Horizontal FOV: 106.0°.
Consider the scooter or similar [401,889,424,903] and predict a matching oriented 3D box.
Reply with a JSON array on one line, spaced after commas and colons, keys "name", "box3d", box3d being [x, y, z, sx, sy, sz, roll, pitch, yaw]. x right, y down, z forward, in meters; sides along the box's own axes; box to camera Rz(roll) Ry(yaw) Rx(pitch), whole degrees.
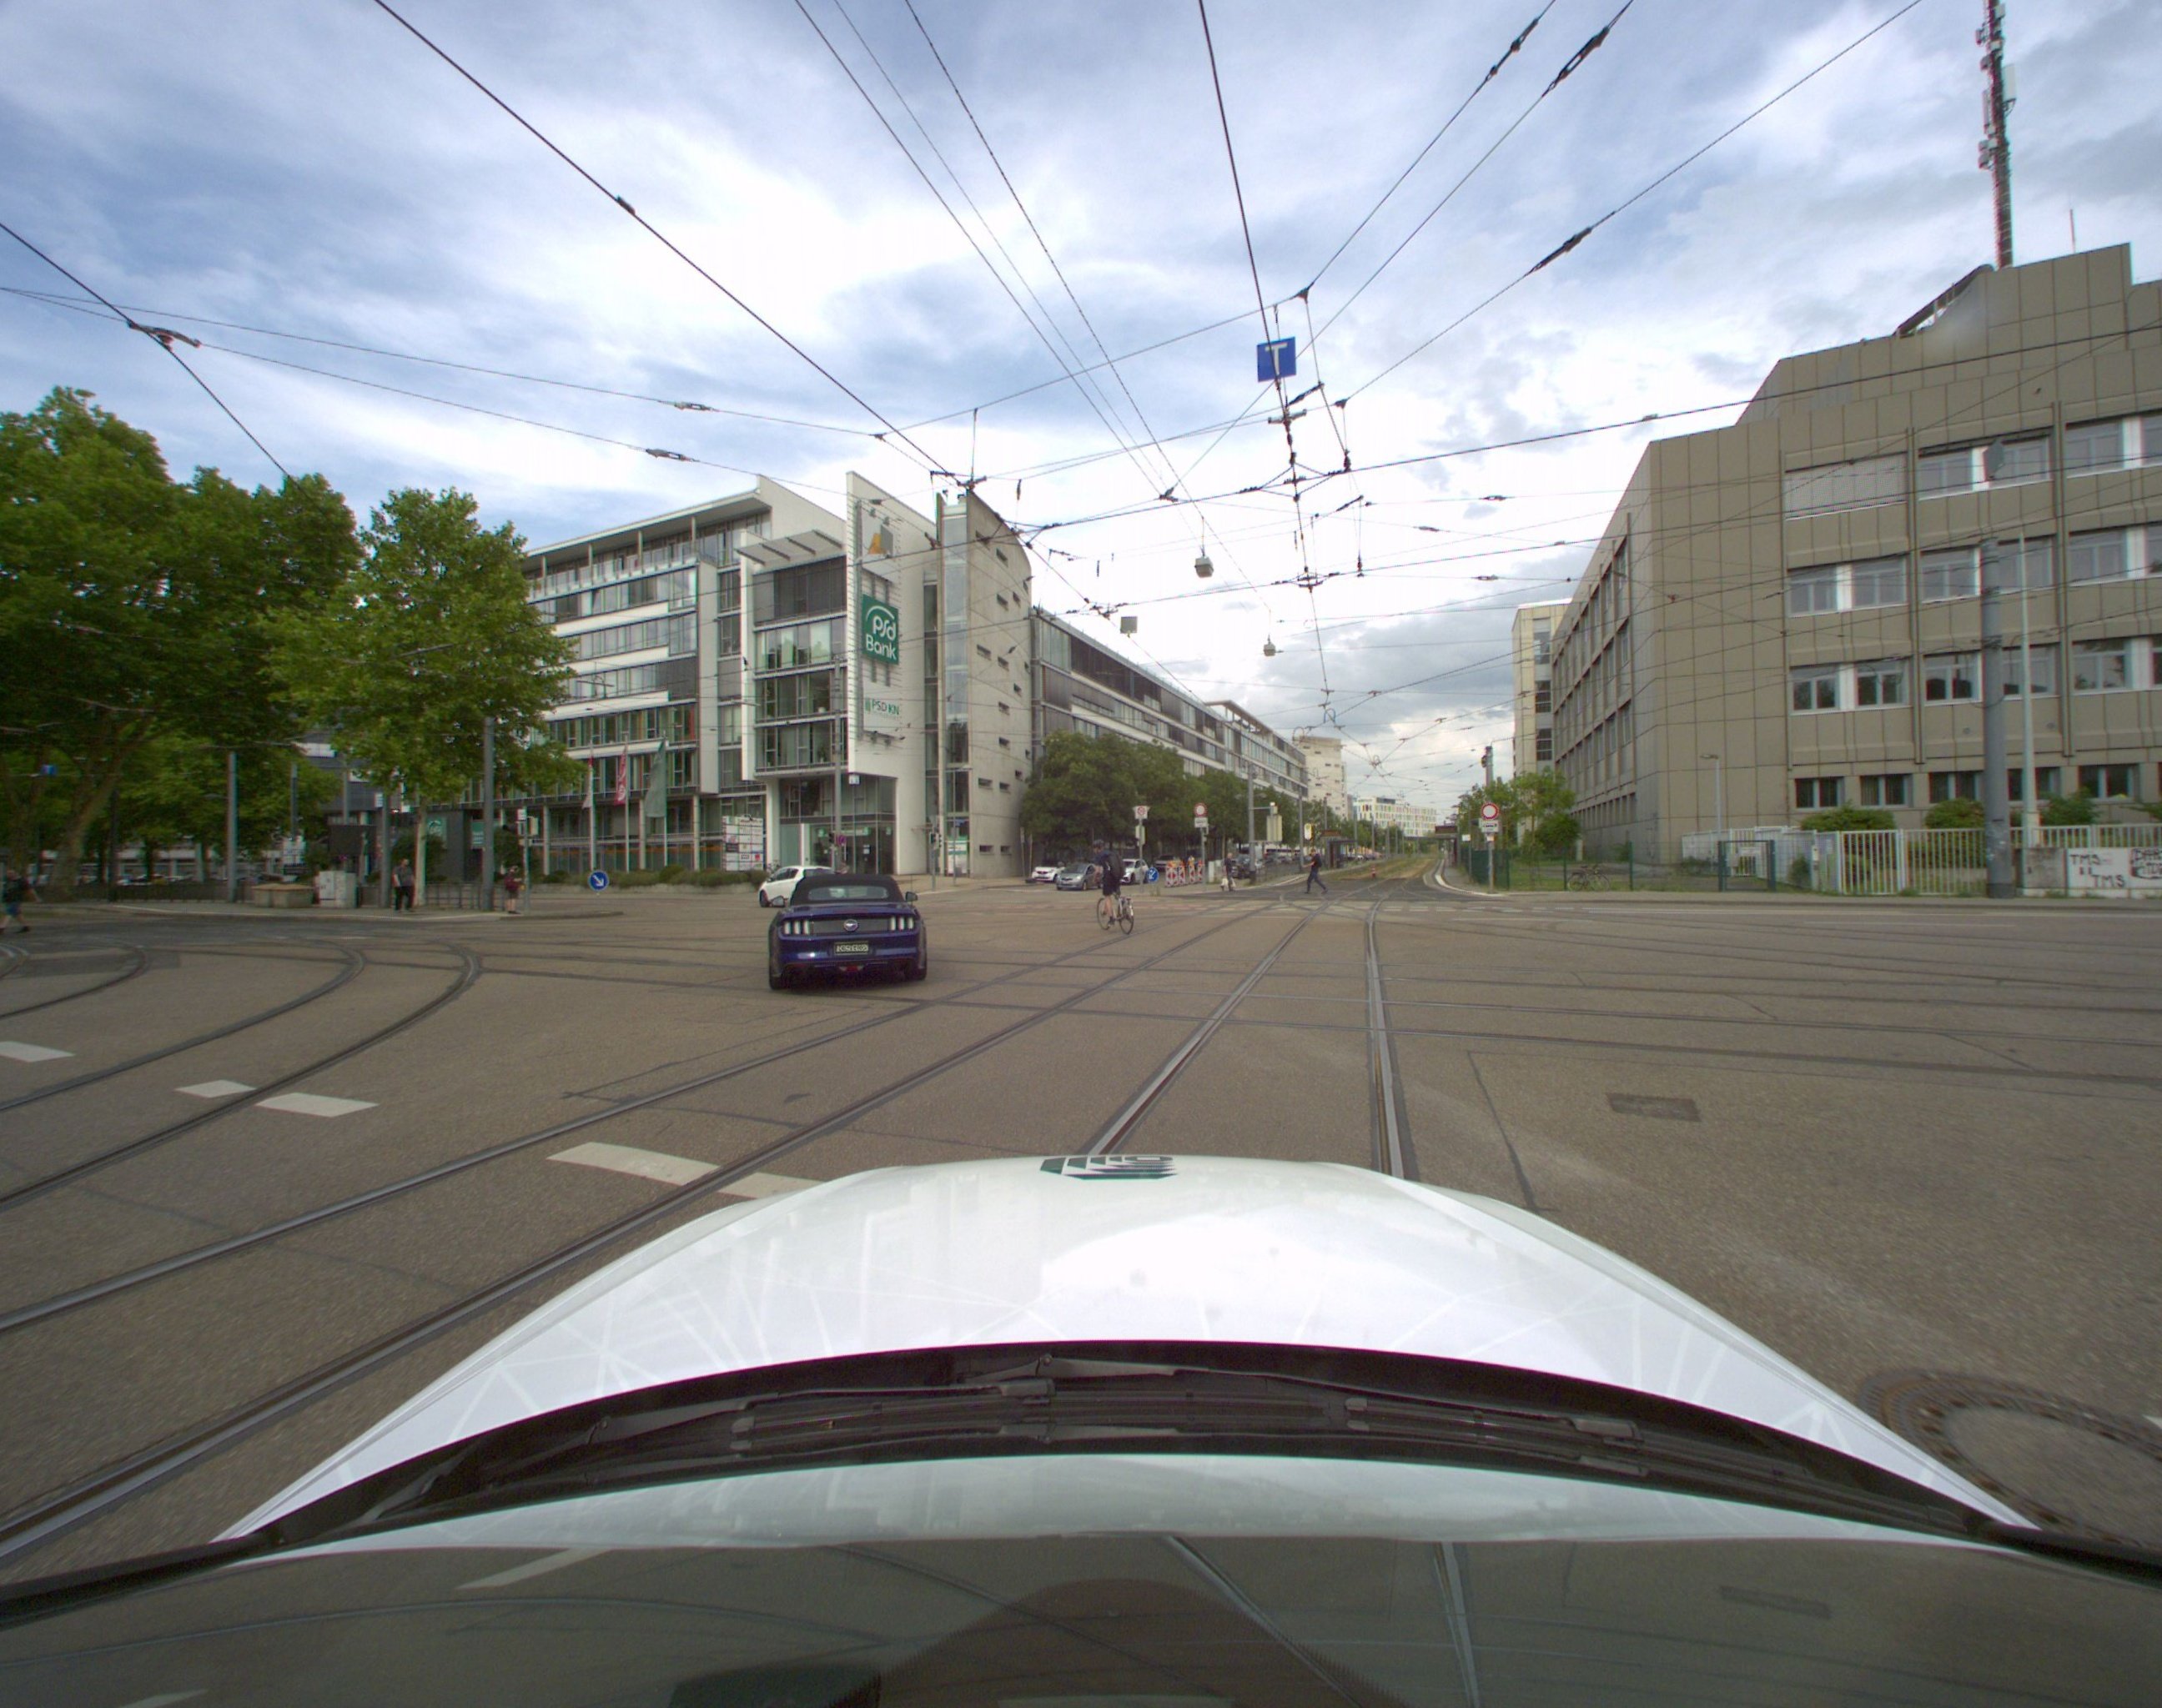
[{"name": "scooter or similar", "box3d": [-45.347, 2.852, 55.264, 1.836, 0.950, 0.593, -2, -1, 30]}]

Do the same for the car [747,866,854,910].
[{"name": "car", "box3d": [-10.151, 1.214, 29.328, 4.134, 1.439, 1.852, -2, -1, 43]}]

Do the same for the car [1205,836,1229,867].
[{"name": "car", "box3d": [16.190, -0.305, 96.637, 1.969, 3.636, 4.535, 0, 0, 21]}]

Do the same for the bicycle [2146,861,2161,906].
[{"name": "bicycle", "box3d": [27.083, 0.706, 19.287, 0.807, 1.086, 2.158, -1, 0, -43]}]

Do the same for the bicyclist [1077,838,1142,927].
[{"name": "bicyclist", "box3d": [0.587, 0.587, 17.262, 0.801, 1.785, 1.220, -1, -1, -32]}]

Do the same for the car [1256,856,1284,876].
[{"name": "car", "box3d": [16.350, 1.028, 70.396, 1.852, 1.606, 4.233, -2, -1, 19]}]

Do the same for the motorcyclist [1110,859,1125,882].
[{"name": "motorcyclist", "box3d": [2.623, 1.160, 58.570, 0.812, 1.616, 0.887, -1, 0, 23]}]

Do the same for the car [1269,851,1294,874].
[{"name": "car", "box3d": [18.524, 0.777, 75.063, 1.770, 1.987, 4.141, -2, -1, 19]}]

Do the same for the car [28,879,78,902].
[{"name": "car", "box3d": [-90.950, 3.229, 72.062, 4.077, 1.903, 1.908, -2, -1, 26]}]

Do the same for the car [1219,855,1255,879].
[{"name": "car", "box3d": [11.114, 0.891, 57.713, 1.864, 1.628, 4.107, -2, -1, 19]}]

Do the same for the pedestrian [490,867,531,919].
[{"name": "pedestrian", "box3d": [-18.732, 1.278, 26.745, 0.926, 1.671, 0.771, -2, -1, 32]}]

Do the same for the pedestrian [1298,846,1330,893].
[{"name": "pedestrian", "box3d": [9.684, 0.645, 33.830, 1.075, 1.898, 0.907, -2, -1, 28]}]

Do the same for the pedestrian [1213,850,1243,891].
[{"name": "pedestrian", "box3d": [6.754, 0.743, 37.365, 0.979, 1.855, 0.907, -2, -1, 36]}]

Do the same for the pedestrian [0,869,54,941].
[{"name": "pedestrian", "box3d": [-28.693, 1.364, 22.075, 0.795, 1.899, 1.009, -2, -1, 35]}]

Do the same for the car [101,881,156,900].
[{"name": "car", "box3d": [-81.380, 3.115, 69.588, 4.272, 1.582, 1.897, -1, -1, 24]}]

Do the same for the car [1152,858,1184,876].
[{"name": "car", "box3d": [8.462, 1.244, 79.086, 1.969, 1.556, 4.535, 0, 0, 21]}]

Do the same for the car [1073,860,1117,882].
[{"name": "car", "box3d": [1.107, 1.280, 62.286, 1.813, 1.556, 4.240, 0, 0, 23]}]

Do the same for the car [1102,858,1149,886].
[{"name": "car", "box3d": [2.973, 1.139, 53.293, 1.700, 1.660, 4.156, 0, 0, 23]}]

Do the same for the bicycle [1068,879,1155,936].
[{"name": "bicycle", "box3d": [0.609, 1.103, 17.268, 0.805, 1.086, 2.110, -1, -1, -31]}]

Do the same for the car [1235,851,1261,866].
[{"name": "car", "box3d": [17.716, 0.477, 86.424, 1.886, 1.585, 4.204, 0, 0, 23]}]

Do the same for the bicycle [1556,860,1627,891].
[{"name": "bicycle", "box3d": [18.228, 0.783, 29.147, 0.635, 0.981, 2.142, -1, -3, -22]}]

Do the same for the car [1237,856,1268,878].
[{"name": "car", "box3d": [13.195, 0.981, 62.494, 1.690, 1.606, 4.099, -2, -1, 19]}]

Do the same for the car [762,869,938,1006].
[{"name": "car", "box3d": [-3.218, 0.957, 11.241, 1.881, 1.404, 4.256, -1, 0, -18]}]

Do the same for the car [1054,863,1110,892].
[{"name": "car", "box3d": [0.098, 1.305, 46.544, 1.653, 1.506, 4.258, 0, 0, 23]}]

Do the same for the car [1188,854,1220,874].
[{"name": "car", "box3d": [10.727, 0.827, 70.873, 1.700, 1.660, 4.156, 0, 0, 23]}]

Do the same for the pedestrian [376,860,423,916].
[{"name": "pedestrian", "box3d": [-23.040, 1.140, 27.529, 0.839, 1.855, 0.841, -2, -1, 3]}]

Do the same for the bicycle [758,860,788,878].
[{"name": "bicycle", "box3d": [-20.476, 0.995, 54.203, 0.579, 1.177, 2.125, 0, -1, 21]}]

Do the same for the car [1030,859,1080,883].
[{"name": "car", "box3d": [-1.730, 1.140, 55.686, 1.813, 1.556, 4.240, 0, 0, 23]}]

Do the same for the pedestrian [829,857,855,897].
[{"name": "pedestrian", "box3d": [-11.435, 1.114, 38.939, 0.825, 1.865, 0.771, -2, -1, 32]}]
